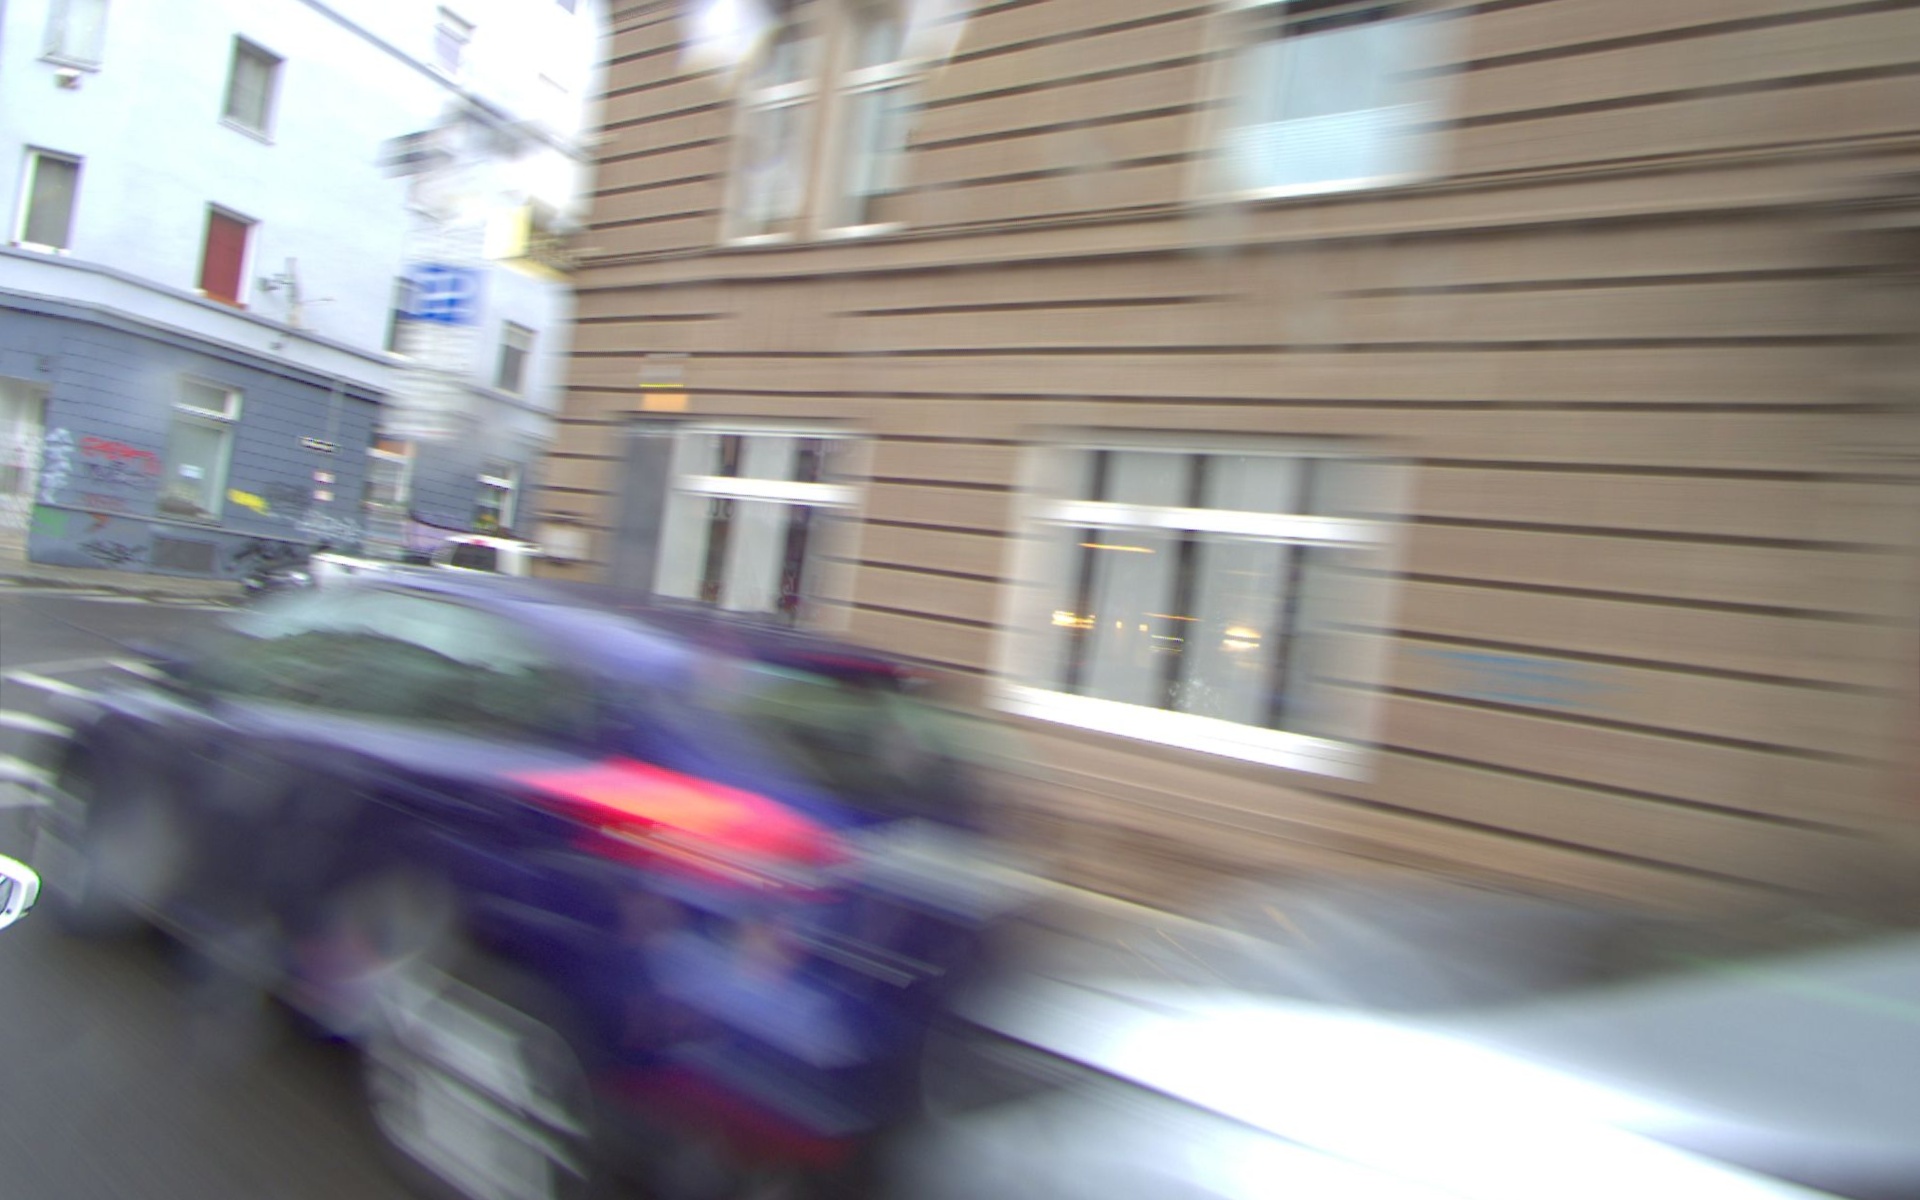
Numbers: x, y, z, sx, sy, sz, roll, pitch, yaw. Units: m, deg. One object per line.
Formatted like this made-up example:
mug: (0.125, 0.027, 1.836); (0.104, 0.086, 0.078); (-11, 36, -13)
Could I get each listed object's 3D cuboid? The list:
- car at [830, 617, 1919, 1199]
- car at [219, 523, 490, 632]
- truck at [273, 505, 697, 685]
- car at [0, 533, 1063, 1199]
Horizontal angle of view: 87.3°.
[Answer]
car: (2.066, 1.156, 1.203); (4.281, 1.540, 1.750); (9, -1, 31)
car: (-11.513, -0.363, 19.385); (1.758, 1.447, 3.993); (8, -1, 33)
truck: (-6.388, 0.087, 14.316); (2.048, 1.839, 5.072); (8, -1, 28)
car: (-1.961, 0.831, 3.791); (4.188, 1.533, 1.724); (8, -1, 32)
